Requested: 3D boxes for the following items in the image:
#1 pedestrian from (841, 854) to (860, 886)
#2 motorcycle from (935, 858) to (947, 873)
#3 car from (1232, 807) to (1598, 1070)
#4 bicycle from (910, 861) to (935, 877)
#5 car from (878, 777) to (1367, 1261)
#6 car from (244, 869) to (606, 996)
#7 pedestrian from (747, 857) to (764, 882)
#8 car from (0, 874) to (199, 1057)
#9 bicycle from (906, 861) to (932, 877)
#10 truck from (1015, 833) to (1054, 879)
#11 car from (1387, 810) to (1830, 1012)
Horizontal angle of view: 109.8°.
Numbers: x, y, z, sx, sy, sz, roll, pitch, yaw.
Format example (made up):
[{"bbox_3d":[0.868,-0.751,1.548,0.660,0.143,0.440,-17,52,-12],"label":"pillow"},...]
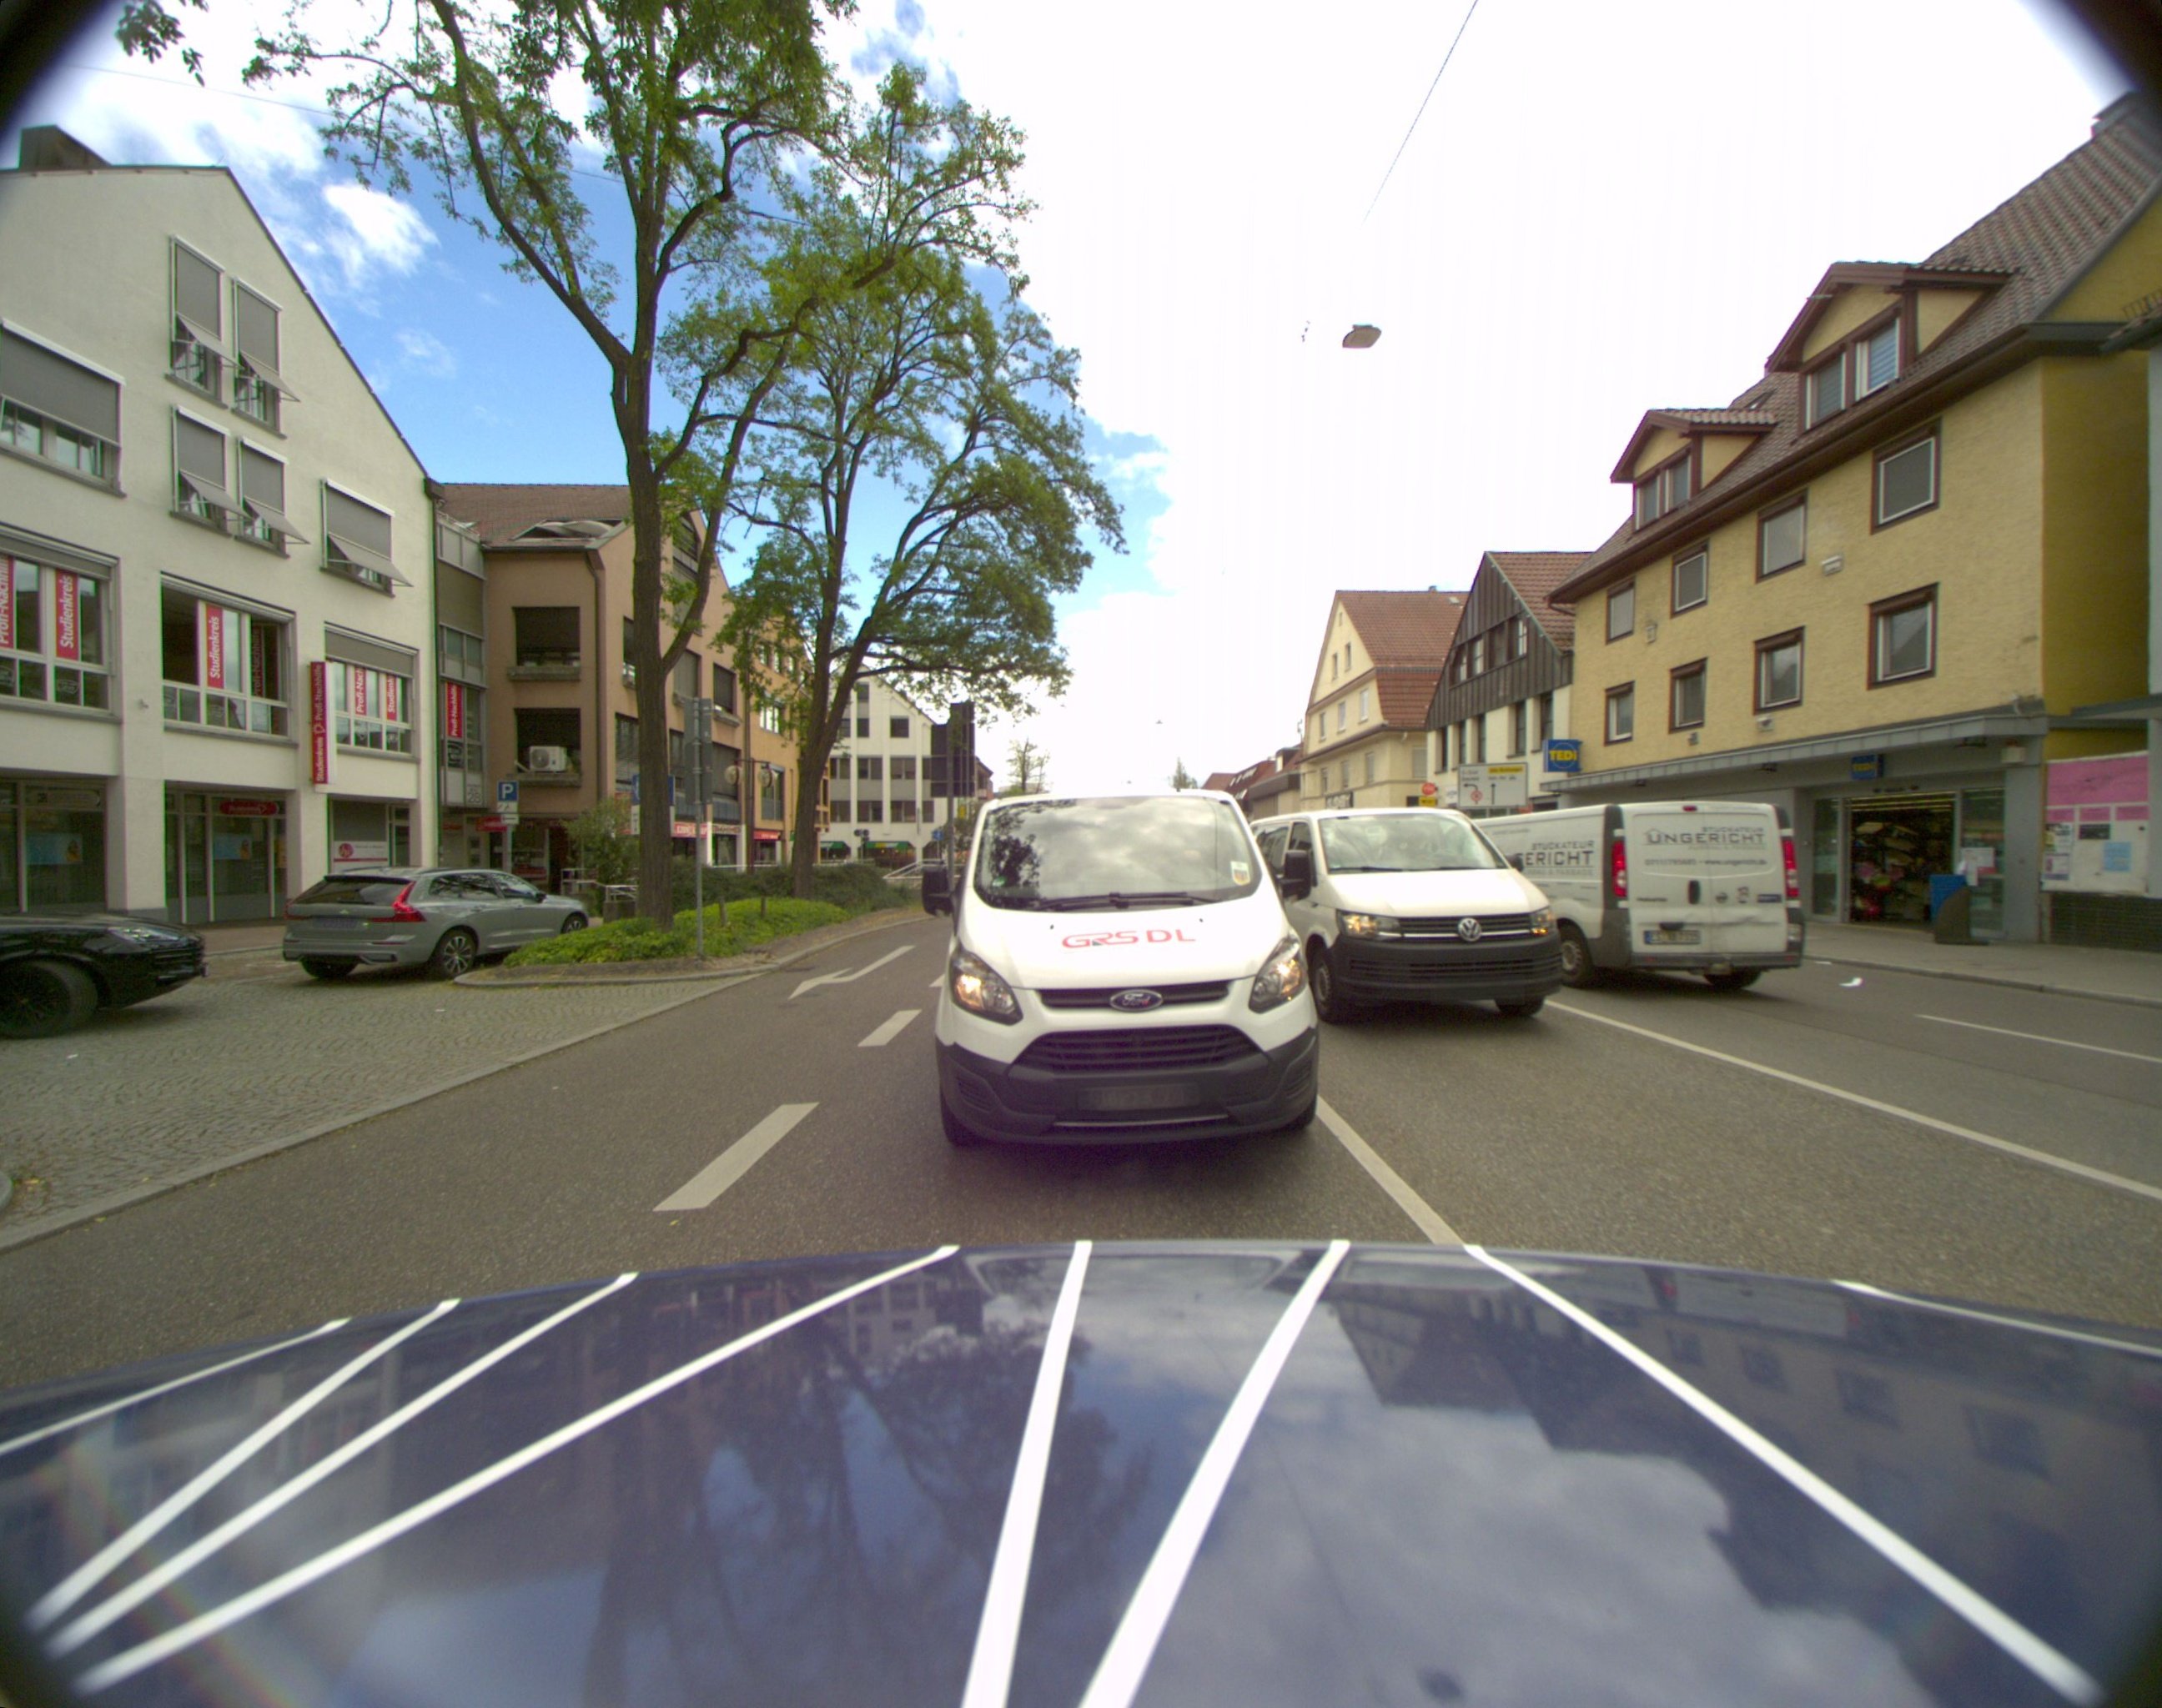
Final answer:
[{"bbox_3d":[-13.747,0.943,45.287,0.871,1.812,0.785,-2,1,-4],"label":"pedestrian"},{"bbox_3d":[-10.010,0.809,54.453,0.464,1.062,1.995,-1,0,0],"label":"motorcycle"},{"bbox_3d":[2.966,0.637,8.084,1.830,1.948,4.852,-1,0,1],"label":"car"},{"bbox_3d":[-10.382,0.982,49.739,1.594,0.963,0.461,-1,1,-14],"label":"bicycle"},{"bbox_3d":[0.184,0.681,5.733,1.964,1.948,5.164,-2,0,0],"label":"car"},{"bbox_3d":[-10.295,1.100,12.599,1.999,1.586,4.762,0,0,-2],"label":"car"},{"bbox_3d":[-23.197,1.091,54.128,0.887,1.747,0.943,-1,1,-11],"label":"pedestrian"},{"bbox_3d":[-11.681,1.070,6.916,1.853,1.660,4.673,1,0,44],"label":"car"},{"bbox_3d":[-10.482,0.942,49.095,1.594,0.996,0.414,-1,1,-13],"label":"bicycle"},{"bbox_3d":[-3.822,0.117,63.909,2.446,3.464,8.347,-2,1,1],"label":"truck"},{"bbox_3d":[5.990,0.538,9.702,1.999,1.877,5.158,1,0,-1],"label":"car"}]
